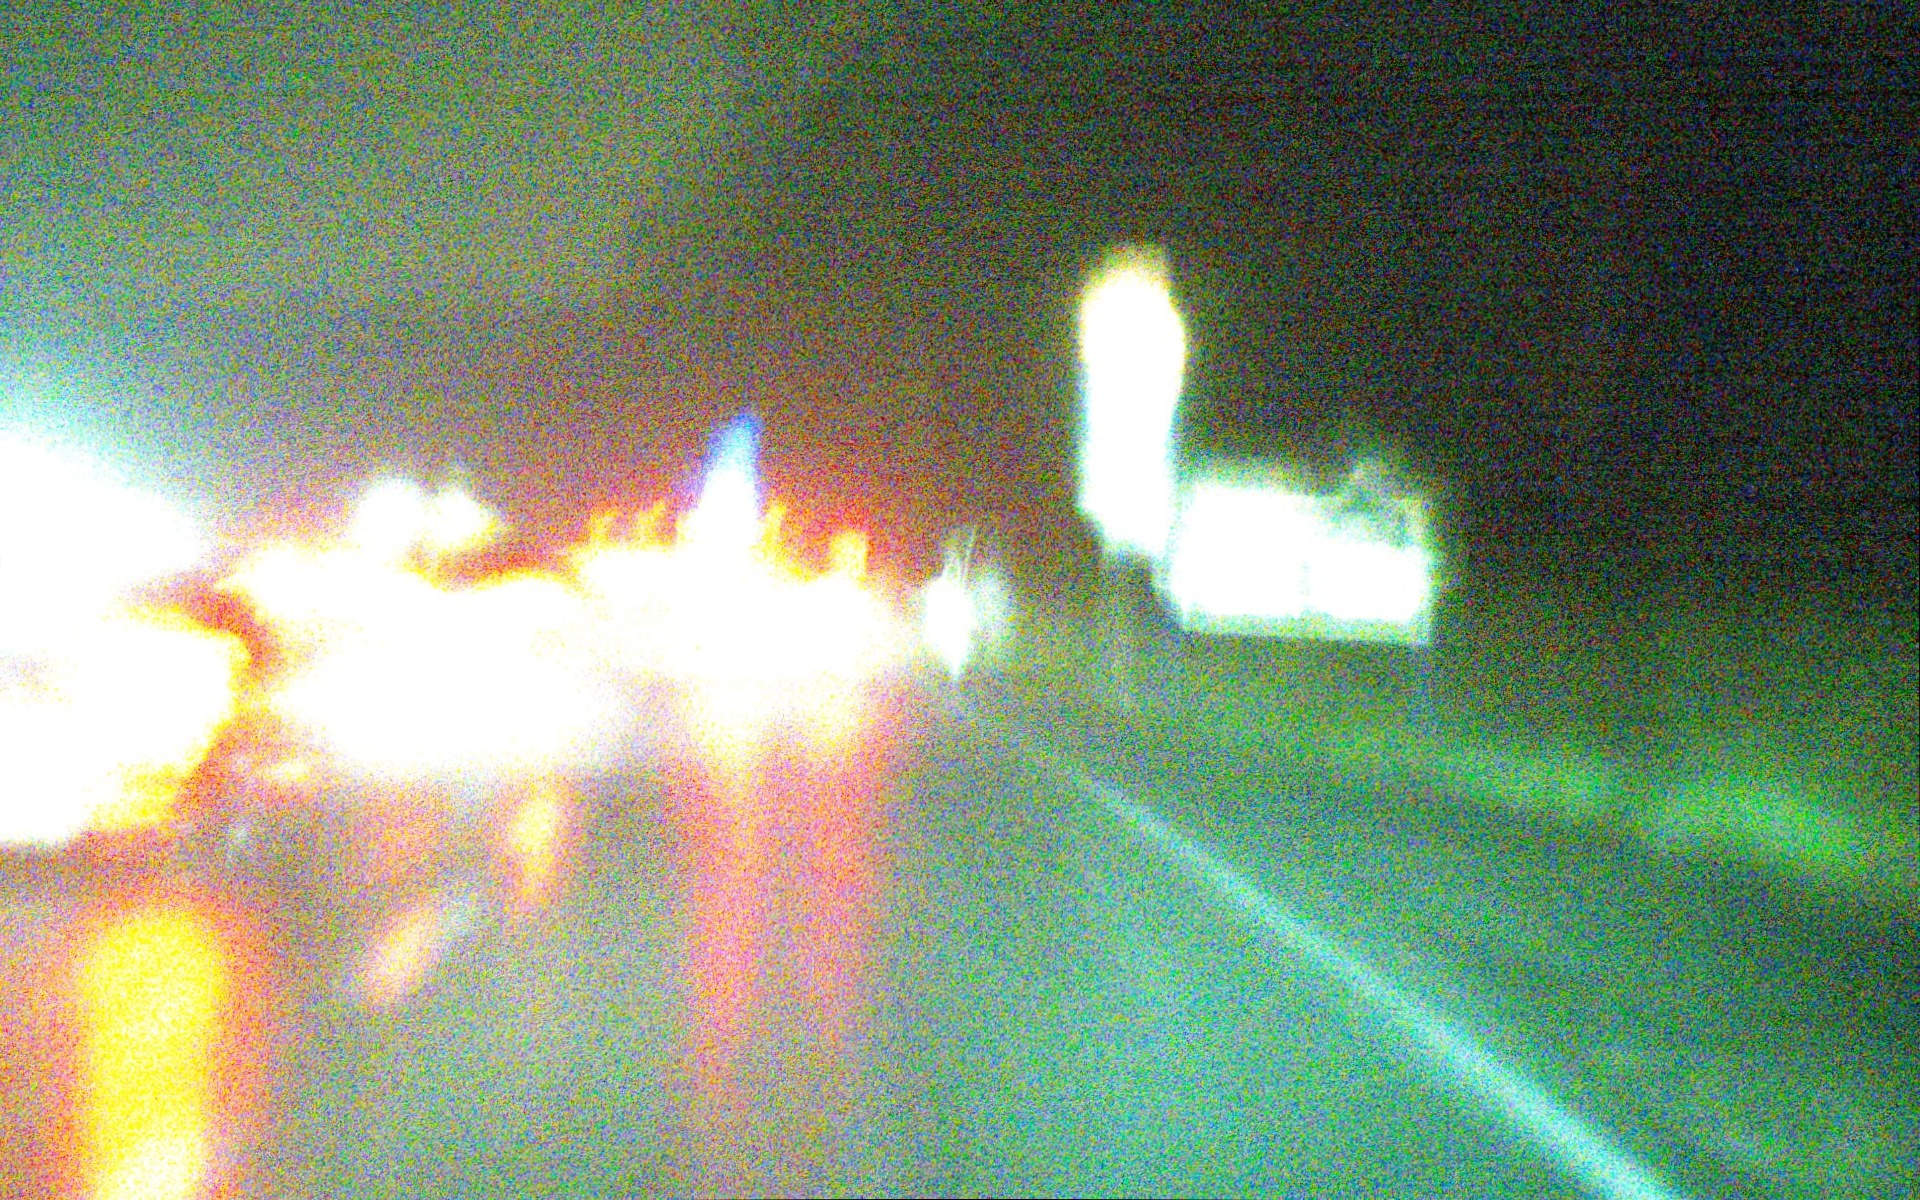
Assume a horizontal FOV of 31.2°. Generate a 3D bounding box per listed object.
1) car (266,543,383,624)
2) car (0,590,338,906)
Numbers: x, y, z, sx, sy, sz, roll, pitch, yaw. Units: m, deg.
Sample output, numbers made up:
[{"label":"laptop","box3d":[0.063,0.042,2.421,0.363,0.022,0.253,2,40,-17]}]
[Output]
[{"label":"car","box3d":[-12.687,-0.320,68.835,1.892,1.545,4.001,1,0,-5]},{"label":"car","box3d":[-4.430,0.659,17.440,1.962,1.376,4.049,2,0,-3]}]
